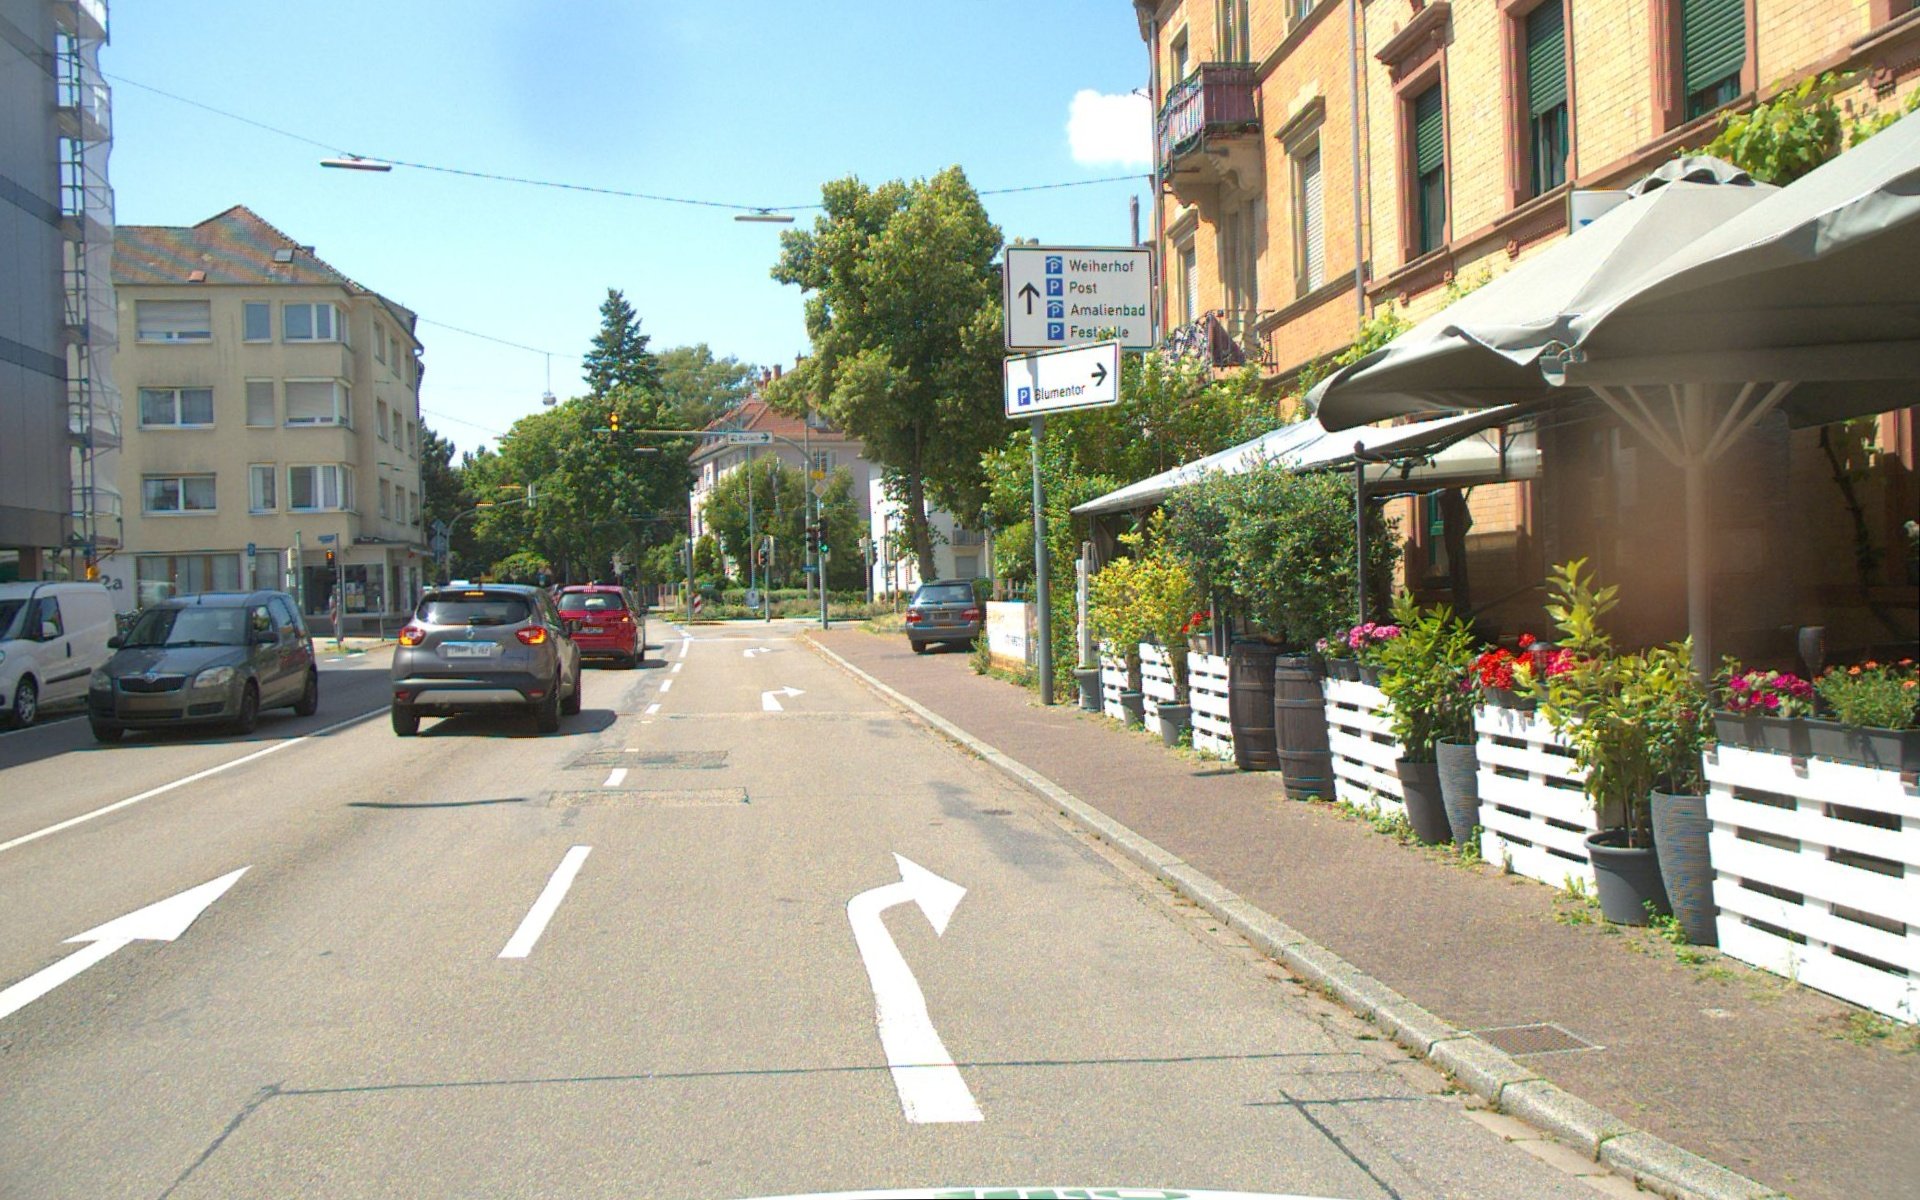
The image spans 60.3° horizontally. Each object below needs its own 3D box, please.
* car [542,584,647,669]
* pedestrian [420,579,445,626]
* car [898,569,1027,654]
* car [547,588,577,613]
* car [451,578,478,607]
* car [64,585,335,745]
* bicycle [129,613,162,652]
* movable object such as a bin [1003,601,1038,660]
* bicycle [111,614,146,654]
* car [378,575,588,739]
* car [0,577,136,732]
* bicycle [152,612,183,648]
[{"bbox_3d":[-7.297,0.497,33.326,1.765,1.585,4.029,-1,0,-8],"label":"car"},{"bbox_3d":[-22.798,0.109,71.477,0.921,1.965,0.971,-1,0,-21],"label":"pedestrian"},{"bbox_3d":[0.148,0.186,36.329,1.795,1.575,5.162,-2,2,11],"label":"car"},{"bbox_3d":[-32.851,0.024,136.439,1.965,1.940,3.975,-1,0,-21],"label":"car"},{"bbox_3d":[-48.098,-0.695,160.449,2.183,2.544,7.514,-5,1,-18],"label":"car"},{"bbox_3d":[-8.787,0.666,19.512,1.670,1.602,4.304,-2,1,-8],"label":"car"},{"bbox_3d":[-21.848,0.864,44.396,0.390,0.984,1.740,-1,0,-13],"label":"bicycle"},{"bbox_3d":[1.141,0.576,31.303,0.636,1.090,0.637,-1,0,1],"label":"movable object such as a bin"},{"bbox_3d":[-21.417,0.869,42.602,0.390,0.984,1.713,-1,0,-13],"label":"bicycle"},{"bbox_3d":[-5.350,0.566,19.010,1.721,1.660,3.993,-1,0,-8],"label":"car"},{"bbox_3d":[-12.810,0.703,22.055,1.879,1.857,4.777,-3,0,-10],"label":"car"},{"bbox_3d":[-22.254,0.837,46.469,0.390,0.984,1.778,-1,0,-13],"label":"bicycle"}]
